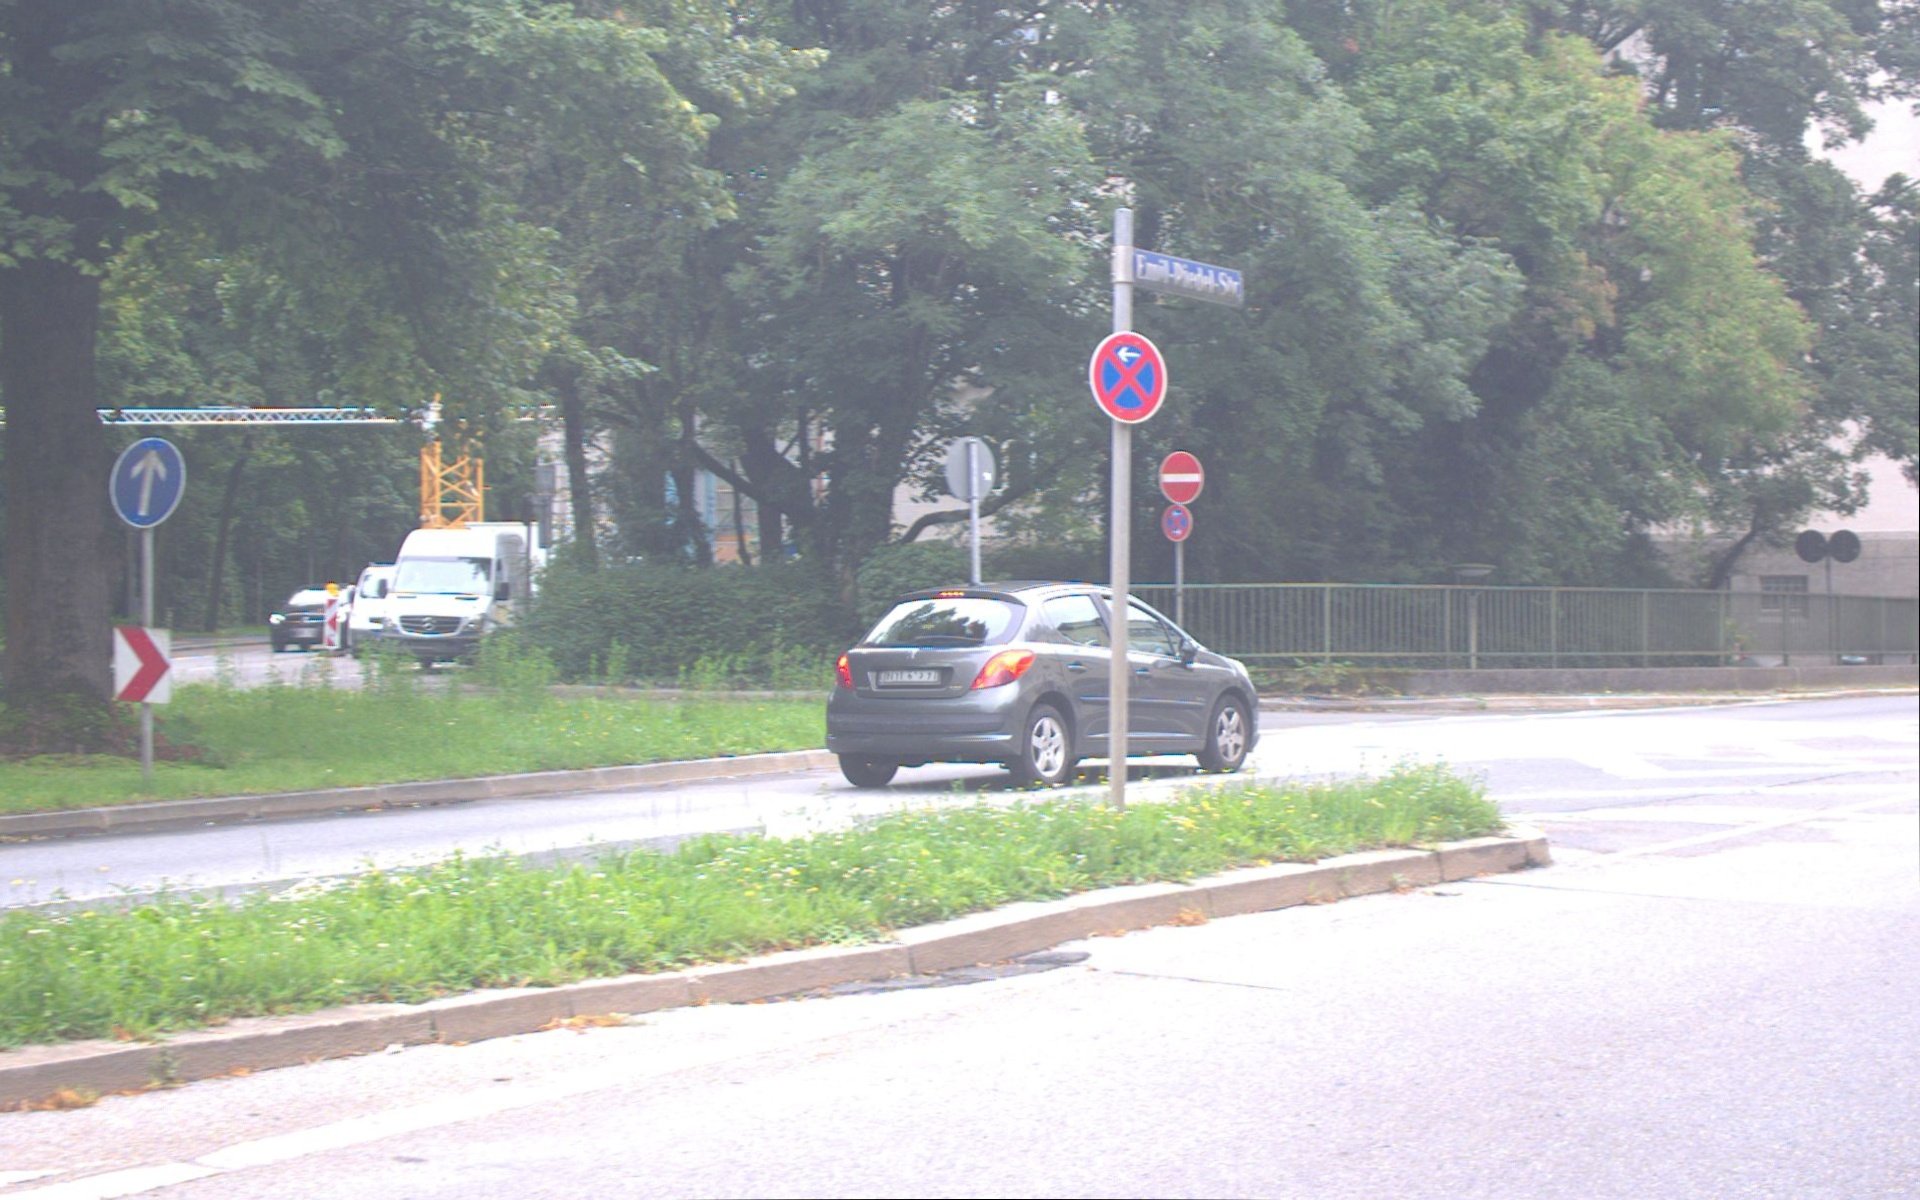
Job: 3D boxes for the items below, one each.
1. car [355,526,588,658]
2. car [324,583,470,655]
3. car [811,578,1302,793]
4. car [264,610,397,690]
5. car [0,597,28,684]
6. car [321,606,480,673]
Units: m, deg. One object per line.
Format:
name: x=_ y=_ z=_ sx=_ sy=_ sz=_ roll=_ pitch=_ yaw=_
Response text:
car: x=-8.750 y=-0.127 z=62.080 sx=2.302 sy=2.262 sz=5.124 roll=-1 pitch=0 yaw=15
car: x=-11.875 y=0.387 z=72.764 sx=1.892 sy=1.441 sz=4.298 roll=-1 pitch=0 yaw=7
car: x=0.800 y=0.589 z=25.475 sx=1.762 sy=1.456 sz=4.066 roll=-1 pitch=0 yaw=33
car: x=-15.124 y=1.182 z=82.757 sx=1.692 sy=1.868 sz=3.997 roll=-1 pitch=0 yaw=13
car: x=-17.169 y=0.692 z=56.302 sx=1.893 sy=1.441 sz=4.030 roll=-1 pitch=0 yaw=15
car: x=-12.640 y=0.879 z=77.937 sx=1.893 sy=1.441 sz=4.385 roll=-1 pitch=0 yaw=15
